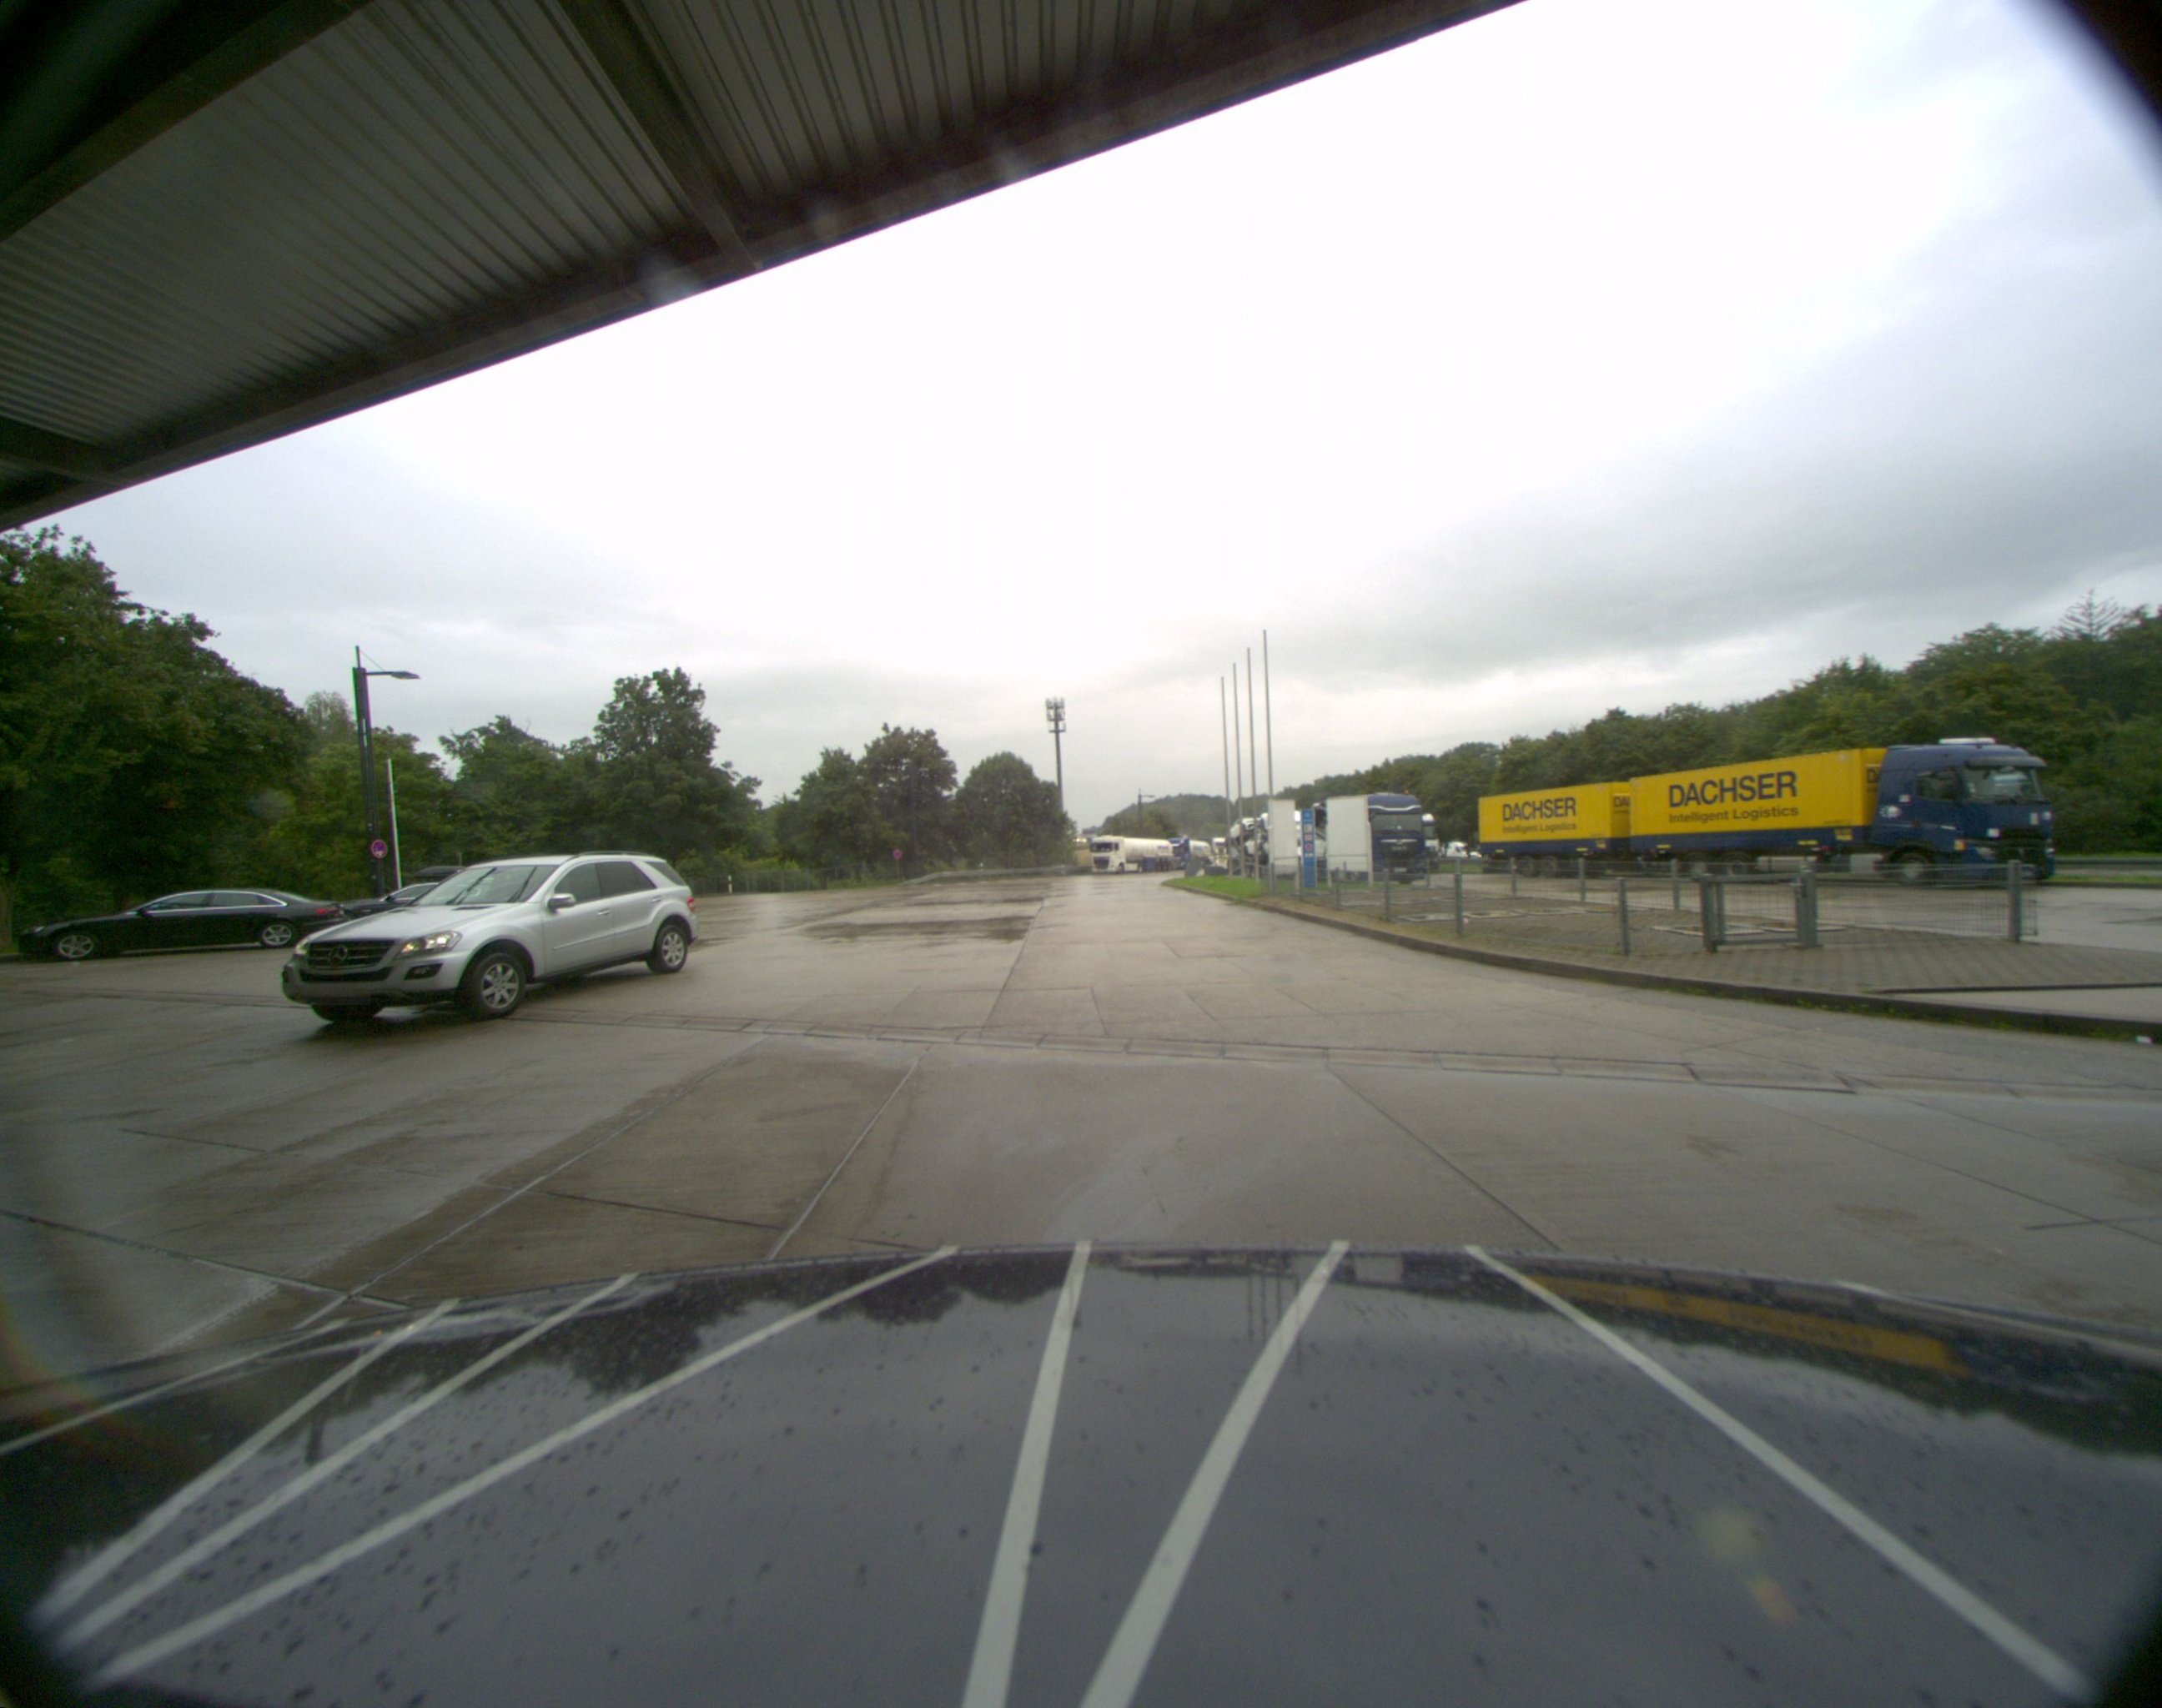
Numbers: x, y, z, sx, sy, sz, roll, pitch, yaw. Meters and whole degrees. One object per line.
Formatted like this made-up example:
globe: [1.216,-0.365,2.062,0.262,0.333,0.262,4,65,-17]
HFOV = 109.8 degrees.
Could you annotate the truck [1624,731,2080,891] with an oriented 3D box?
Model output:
truck: [23.153,-1.125,24.309,2.757,3.894,10.678,-2,1,-8]

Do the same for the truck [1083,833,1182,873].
truck: [5.457,-0.156,75.192,3.505,3.584,14.426,-2,0,31]

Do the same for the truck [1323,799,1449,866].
truck: [19.884,-1.295,50.552,2.757,3.894,10.678,-2,1,-8]

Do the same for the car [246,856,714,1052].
car: [-6.896,0.987,9.560,1.865,1.788,4.541,-2,0,7]

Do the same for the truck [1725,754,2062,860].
truck: [33.911,-1.757,32.695,2.421,3.785,10.223,-2,1,-10]

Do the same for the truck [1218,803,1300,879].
truck: [10.571,-0.722,45.762,2.665,4.157,6.618,-2,1,-6]

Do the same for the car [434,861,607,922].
car: [-20.427,1.293,27.981,4.898,1.938,2.310,-2,0,-35]

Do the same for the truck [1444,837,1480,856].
truck: [48.958,-0.931,97.722,1.730,2.252,4.633,-2,1,-10]

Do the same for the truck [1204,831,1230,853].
truck: [32.830,-2.812,184.416,3.145,5.092,11.515,-2,1,-5]

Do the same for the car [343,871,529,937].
car: [-18.876,1.398,22.492,4.007,1.650,1.596,-2,0,-35]

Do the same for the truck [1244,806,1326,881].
truck: [11.047,-0.554,41.571,2.665,3.750,4.747,-2,1,-6]

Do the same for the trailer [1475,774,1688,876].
trailer: [21.792,-1.181,33.931,2.757,3.894,8.700,-2,1,-9]

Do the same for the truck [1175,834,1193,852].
truck: [24.294,-2.566,179.846,3.143,4.105,11.523,-2,1,3]

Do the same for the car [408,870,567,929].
car: [-19.472,1.431,25.144,4.007,1.650,1.596,-2,0,-35]

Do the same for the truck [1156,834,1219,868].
truck: [12.785,-0.398,89.673,3.506,3.584,14.686,-2,0,23]

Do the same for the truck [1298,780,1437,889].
truck: [12.184,-0.793,33.164,2.665,4.157,7.103,-2,0,-6]
